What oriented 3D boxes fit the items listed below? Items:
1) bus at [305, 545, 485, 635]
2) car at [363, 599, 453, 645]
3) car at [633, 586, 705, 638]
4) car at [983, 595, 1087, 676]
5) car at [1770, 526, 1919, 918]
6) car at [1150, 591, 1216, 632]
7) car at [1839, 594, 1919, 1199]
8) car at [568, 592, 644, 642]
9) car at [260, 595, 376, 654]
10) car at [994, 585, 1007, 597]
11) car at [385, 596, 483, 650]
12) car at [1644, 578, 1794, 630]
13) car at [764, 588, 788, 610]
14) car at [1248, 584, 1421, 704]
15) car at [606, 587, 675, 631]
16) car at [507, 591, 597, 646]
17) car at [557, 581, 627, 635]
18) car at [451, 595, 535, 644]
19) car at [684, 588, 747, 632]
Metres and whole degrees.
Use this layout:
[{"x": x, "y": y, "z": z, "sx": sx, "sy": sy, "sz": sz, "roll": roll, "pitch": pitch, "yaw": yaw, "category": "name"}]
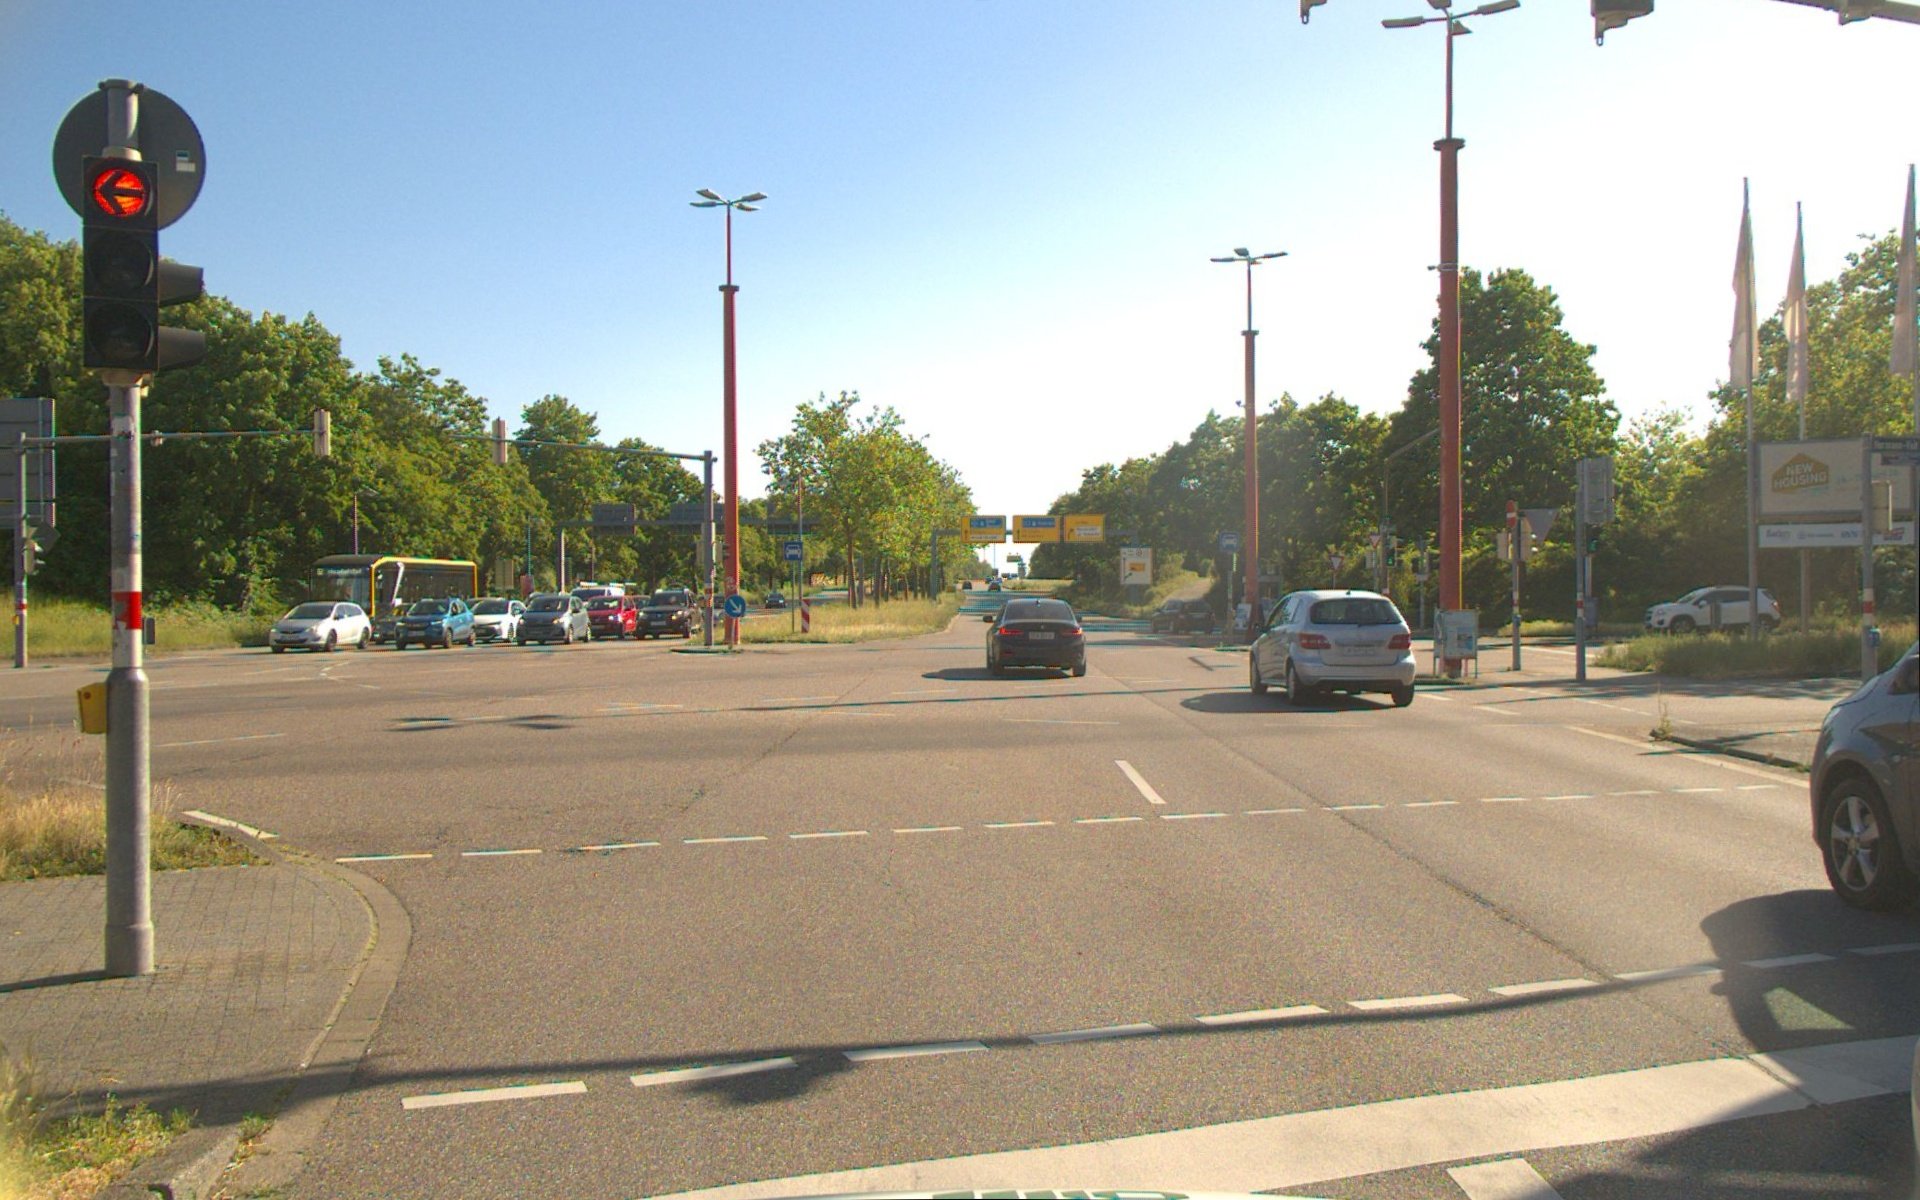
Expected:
[{"x": -22.937, "y": -0.356, "z": 68.171, "sx": 2.591, "sy": 3.318, "sz": 12.539, "roll": 1, "pitch": 0, "yaw": 2, "category": "bus"}, {"x": -19.902, "y": 0.766, "z": 59.793, "sx": 1.846, "sy": 1.539, "sz": 4.000, "roll": -1, "pitch": 0, "yaw": 0, "category": "car"}, {"x": -9.852, "y": 0.378, "z": 56.211, "sx": 1.757, "sy": 1.654, "sz": 4.142, "roll": -2, "pitch": 0, "yaw": -2, "category": "car"}, {"x": 1.418, "y": 0.669, "z": 32.728, "sx": 1.728, "sy": 1.466, "sz": 4.293, "roll": 1, "pitch": 0, "yaw": -2, "category": "car"}, {"x": 5.491, "y": 0.581, "z": 6.814, "sx": 1.767, "sy": 1.884, "sz": 5.102, "roll": -1, "pitch": 0, "yaw": 0, "category": "car"}, {"x": 9.447, "y": 0.482, "z": 70.243, "sx": 1.730, "sy": 1.664, "sz": 4.291, "roll": 1, "pitch": 0, "yaw": -7, "category": "car"}, {"x": 2.831, "y": 0.775, "z": 1.332, "sx": 1.767, "sy": 1.519, "sz": 4.682, "roll": 1, "pitch": 0, "yaw": 0, "category": "car"}, {"x": -12.460, "y": 0.575, "z": 58.431, "sx": 1.838, "sy": 1.579, "sz": 3.998, "roll": -3, "pitch": 0, "yaw": -2, "category": "car"}, {"x": -19.556, "y": 0.729, "z": 50.541, "sx": 1.838, "sy": 1.681, "sz": 4.219, "roll": -1, "pitch": 0, "yaw": 0, "category": "car"}, {"x": 6.370, "y": -1.443, "z": 262.038, "sx": 1.953, "sy": 1.764, "sz": 3.999, "roll": 1, "pitch": 0, "yaw": -1, "category": "car"}, {"x": -16.117, "y": 0.675, "z": 50.876, "sx": 1.764, "sy": 1.542, "sz": 3.858, "roll": -2, "pitch": 0, "yaw": 0, "category": "car"}, {"x": 25.212, "y": 0.134, "z": 55.045, "sx": 4.193, "sy": 1.664, "sz": 1.771, "roll": 0, "pitch": 0, "yaw": 5, "category": "car"}, {"x": -17.972, "y": -0.103, "z": 161.607, "sx": 1.881, "sy": 2.034, "sz": 4.602, "roll": 0, "pitch": 0, "yaw": -1, "category": "car"}, {"x": 5.517, "y": 0.612, "z": 24.790, "sx": 1.681, "sy": 1.636, "sz": 3.846, "roll": 1, "pitch": 0, "yaw": -1, "category": "car"}, {"x": -12.420, "y": 0.359, "z": 64.431, "sx": 1.862, "sy": 1.658, "sz": 4.000, "roll": 0, "pitch": 0, "yaw": 1, "category": "car"}, {"x": -12.783, "y": 0.544, "z": 52.088, "sx": 1.836, "sy": 1.577, "sz": 4.027, "roll": -2, "pitch": 1, "yaw": -1, "category": "car"}, {"x": -15.636, "y": 0.322, "z": 70.587, "sx": 1.922, "sy": 2.193, "sz": 5.080, "roll": -1, "pitch": 0, "yaw": -1, "category": "car"}, {"x": -16.046, "y": 0.655, "z": 57.028, "sx": 1.863, "sy": 1.582, "sz": 3.998, "roll": -1, "pitch": 0, "yaw": -2, "category": "car"}, {"x": -9.364, "y": 0.367, "z": 63.698, "sx": 1.847, "sy": 1.570, "sz": 3.999, "roll": -2, "pitch": 0, "yaw": -1, "category": "car"}]
